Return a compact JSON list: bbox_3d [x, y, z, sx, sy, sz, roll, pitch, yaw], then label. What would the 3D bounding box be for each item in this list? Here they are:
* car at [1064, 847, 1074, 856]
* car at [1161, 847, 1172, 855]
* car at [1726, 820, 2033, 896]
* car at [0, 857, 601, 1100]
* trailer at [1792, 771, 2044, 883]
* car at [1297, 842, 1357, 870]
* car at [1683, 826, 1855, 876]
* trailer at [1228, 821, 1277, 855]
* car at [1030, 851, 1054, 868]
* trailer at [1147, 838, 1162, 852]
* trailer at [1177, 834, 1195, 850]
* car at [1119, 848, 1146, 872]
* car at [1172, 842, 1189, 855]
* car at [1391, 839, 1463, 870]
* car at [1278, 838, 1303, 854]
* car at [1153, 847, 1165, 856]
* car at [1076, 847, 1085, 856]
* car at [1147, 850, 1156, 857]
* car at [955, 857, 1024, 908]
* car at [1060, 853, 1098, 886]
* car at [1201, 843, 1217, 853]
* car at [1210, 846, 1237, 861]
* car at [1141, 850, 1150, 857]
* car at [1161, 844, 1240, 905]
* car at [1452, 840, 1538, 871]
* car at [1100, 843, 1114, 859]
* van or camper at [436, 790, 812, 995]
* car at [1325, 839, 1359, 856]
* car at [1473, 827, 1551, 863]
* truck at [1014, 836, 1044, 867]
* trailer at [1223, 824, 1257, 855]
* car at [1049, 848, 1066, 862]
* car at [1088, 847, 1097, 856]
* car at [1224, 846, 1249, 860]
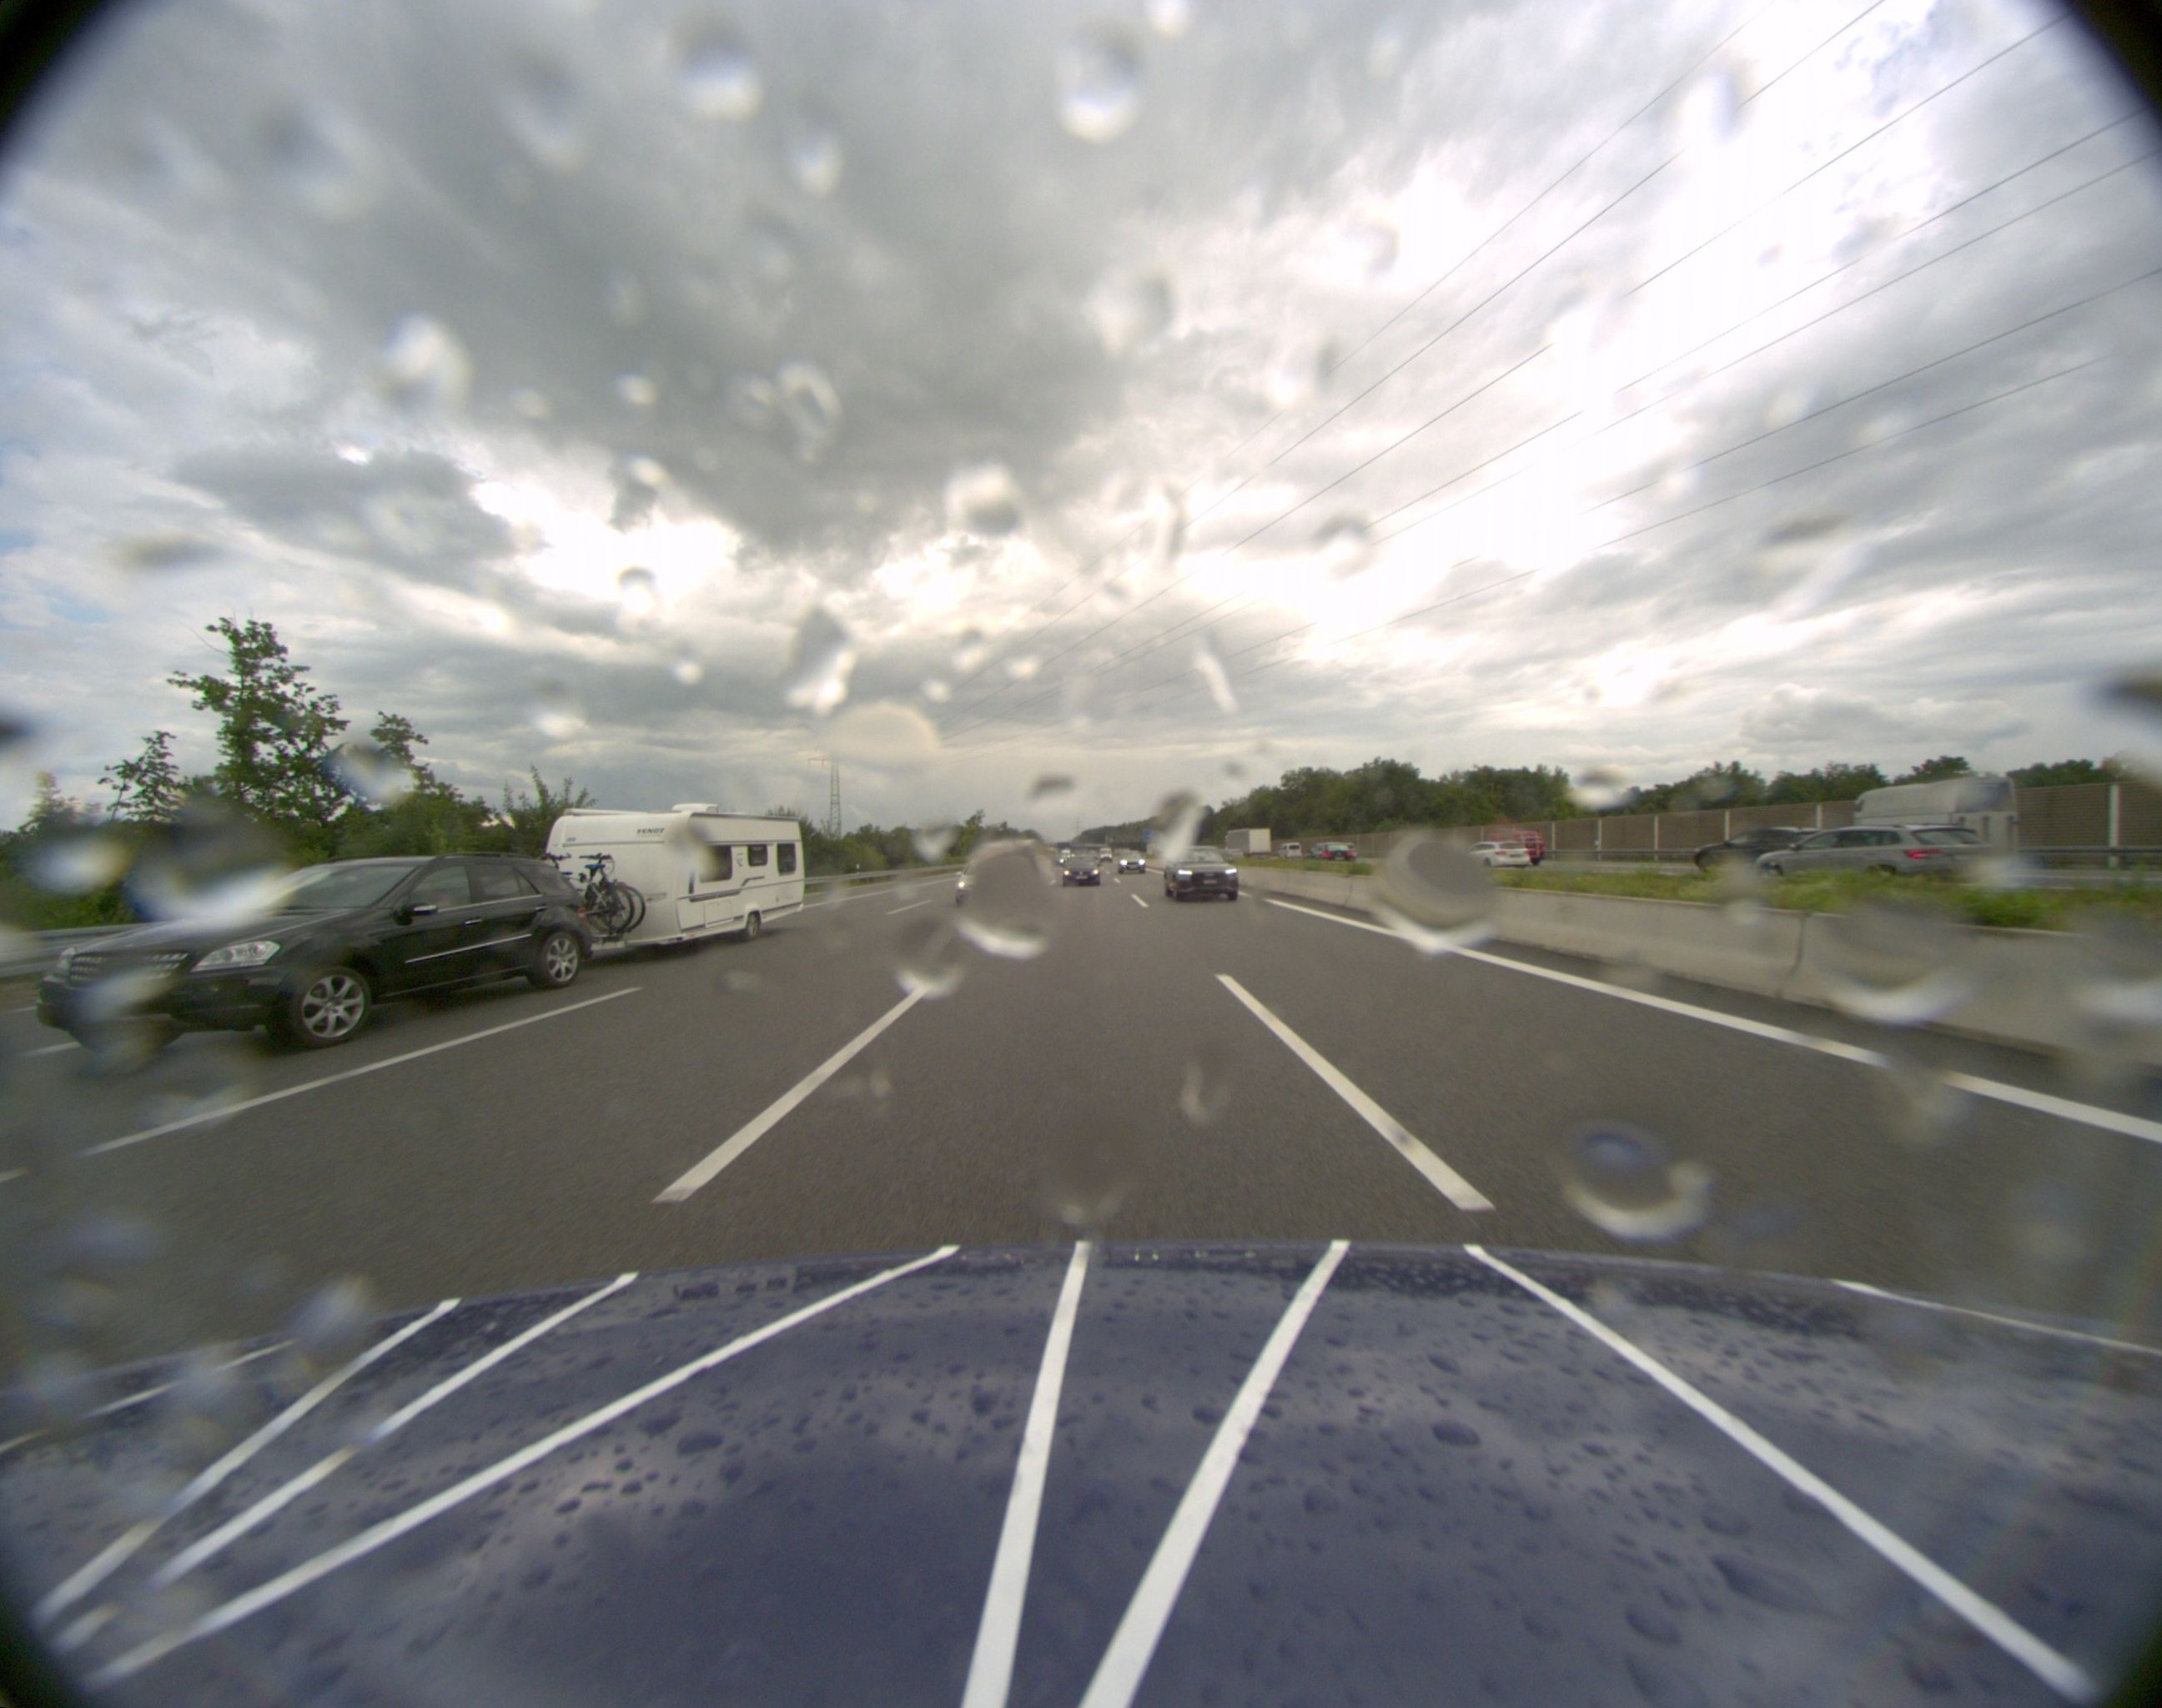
[{"bbox_3d":[-2.765,-0.623,172.513,1.998,2.002,3.999,-3,1,1],"label":"car"},{"bbox_3d":[18.806,-0.726,166.767,1.770,1.540,5.712,-3,1,0],"label":"car"},{"bbox_3d":[18.237,0.053,17.822,1.970,1.446,4.942,-3,1,0],"label":"car"},{"bbox_3d":[-7.580,0.975,8.118,1.925,1.766,4.502,-2,1,1],"label":"car"},{"bbox_3d":[25.159,-0.757,23.197,2.253,2.945,4.900,-3,1,0],"label":"trailer"},{"bbox_3d":[14.395,0.082,44.748,1.831,1.446,4.942,-3,1,0],"label":"car"},{"bbox_3d":[25.186,-0.127,28.101,1.970,1.586,4.820,-3,1,0],"label":"car"},{"bbox_3d":[22.178,-1.984,99.313,3.327,4.038,13.286,-3,1,0],"label":"trailer"},{"bbox_3d":[-3.525,0.460,69.560,1.840,1.437,4.000,-2,1,1],"label":"car"},{"bbox_3d":[21.498,-2.684,222.504,2.732,3.863,14.050,-3,1,0],"label":"trailer"},{"bbox_3d":[26.943,-3.018,196.252,2.684,3.941,14.050,-3,1,1],"label":"trailer"},{"bbox_3d":[3.783,0.426,55.997,1.840,1.615,4.915,-2,1,3],"label":"car"},{"bbox_3d":[15.484,-0.896,118.310,1.927,1.888,5.160,-3,1,0],"label":"car"},{"bbox_3d":[18.084,0.004,39.932,1.770,1.446,4.233,-3,1,0],"label":"car"},{"bbox_3d":[26.528,-1.006,96.274,2.008,2.002,4.000,-3,1,2],"label":"car"},{"bbox_3d":[14.722,-0.474,143.540,1.770,1.528,4.482,-3,1,0],"label":"car"},{"bbox_3d":[-0.112,-0.645,187.821,1.998,2.002,3.999,-3,1,1],"label":"car"},{"bbox_3d":[17.890,-0.165,191.956,1.770,1.528,5.239,-3,1,0],"label":"car"},{"bbox_3d":[-2.918,0.869,25.019,1.683,1.437,4.000,-2,1,1],"label":"car"},{"bbox_3d":[-0.069,0.712,37.143,1.717,1.437,4.000,-2,1,1],"label":"car"},{"bbox_3d":[22.079,-1.026,131.533,1.770,1.528,5.160,-3,1,0],"label":"car"},{"bbox_3d":[14.665,-0.061,78.341,1.770,1.446,5.084,-3,1,0],"label":"car"},{"bbox_3d":[15.065,-0.027,177.706,1.770,1.528,5.160,-3,1,0],"label":"car"},{"bbox_3d":[3.717,0.562,24.526,1.913,1.681,5.169,-2,1,3],"label":"car"},{"bbox_3d":[21.513,0.040,39.739,1.770,1.446,4.942,-3,1,0],"label":"car"},{"bbox_3d":[4.287,-0.496,125.191,1.998,2.524,4.808,-3,1,1],"label":"car"},{"bbox_3d":[-7.565,0.494,14.066,2.390,2.723,7.208,-3,1,1],"label":"van or camper"},{"bbox_3d":[26.416,-0.679,77.062,1.770,1.601,4.942,-3,1,0],"label":"car"},{"bbox_3d":[25.569,-0.542,45.333,1.770,1.956,4.942,-3,1,0],"label":"car"},{"bbox_3d":[-6.482,-0.385,96.254,2.870,3.633,9.593,-3,1,1],"label":"truck"},{"bbox_3d":[22.190,-2.019,106.546,3.327,4.020,6.078,-3,1,0],"label":"trailer"},{"bbox_3d":[-2.967,0.117,97.659,1.999,1.701,3.999,-3,1,0],"label":"car"},{"bbox_3d":[2.715,-0.589,175.848,1.998,2.002,3.999,-3,1,1],"label":"car"},{"bbox_3d":[18.399,-0.117,90.106,1.770,1.528,5.160,-3,1,0],"label":"car"}]
